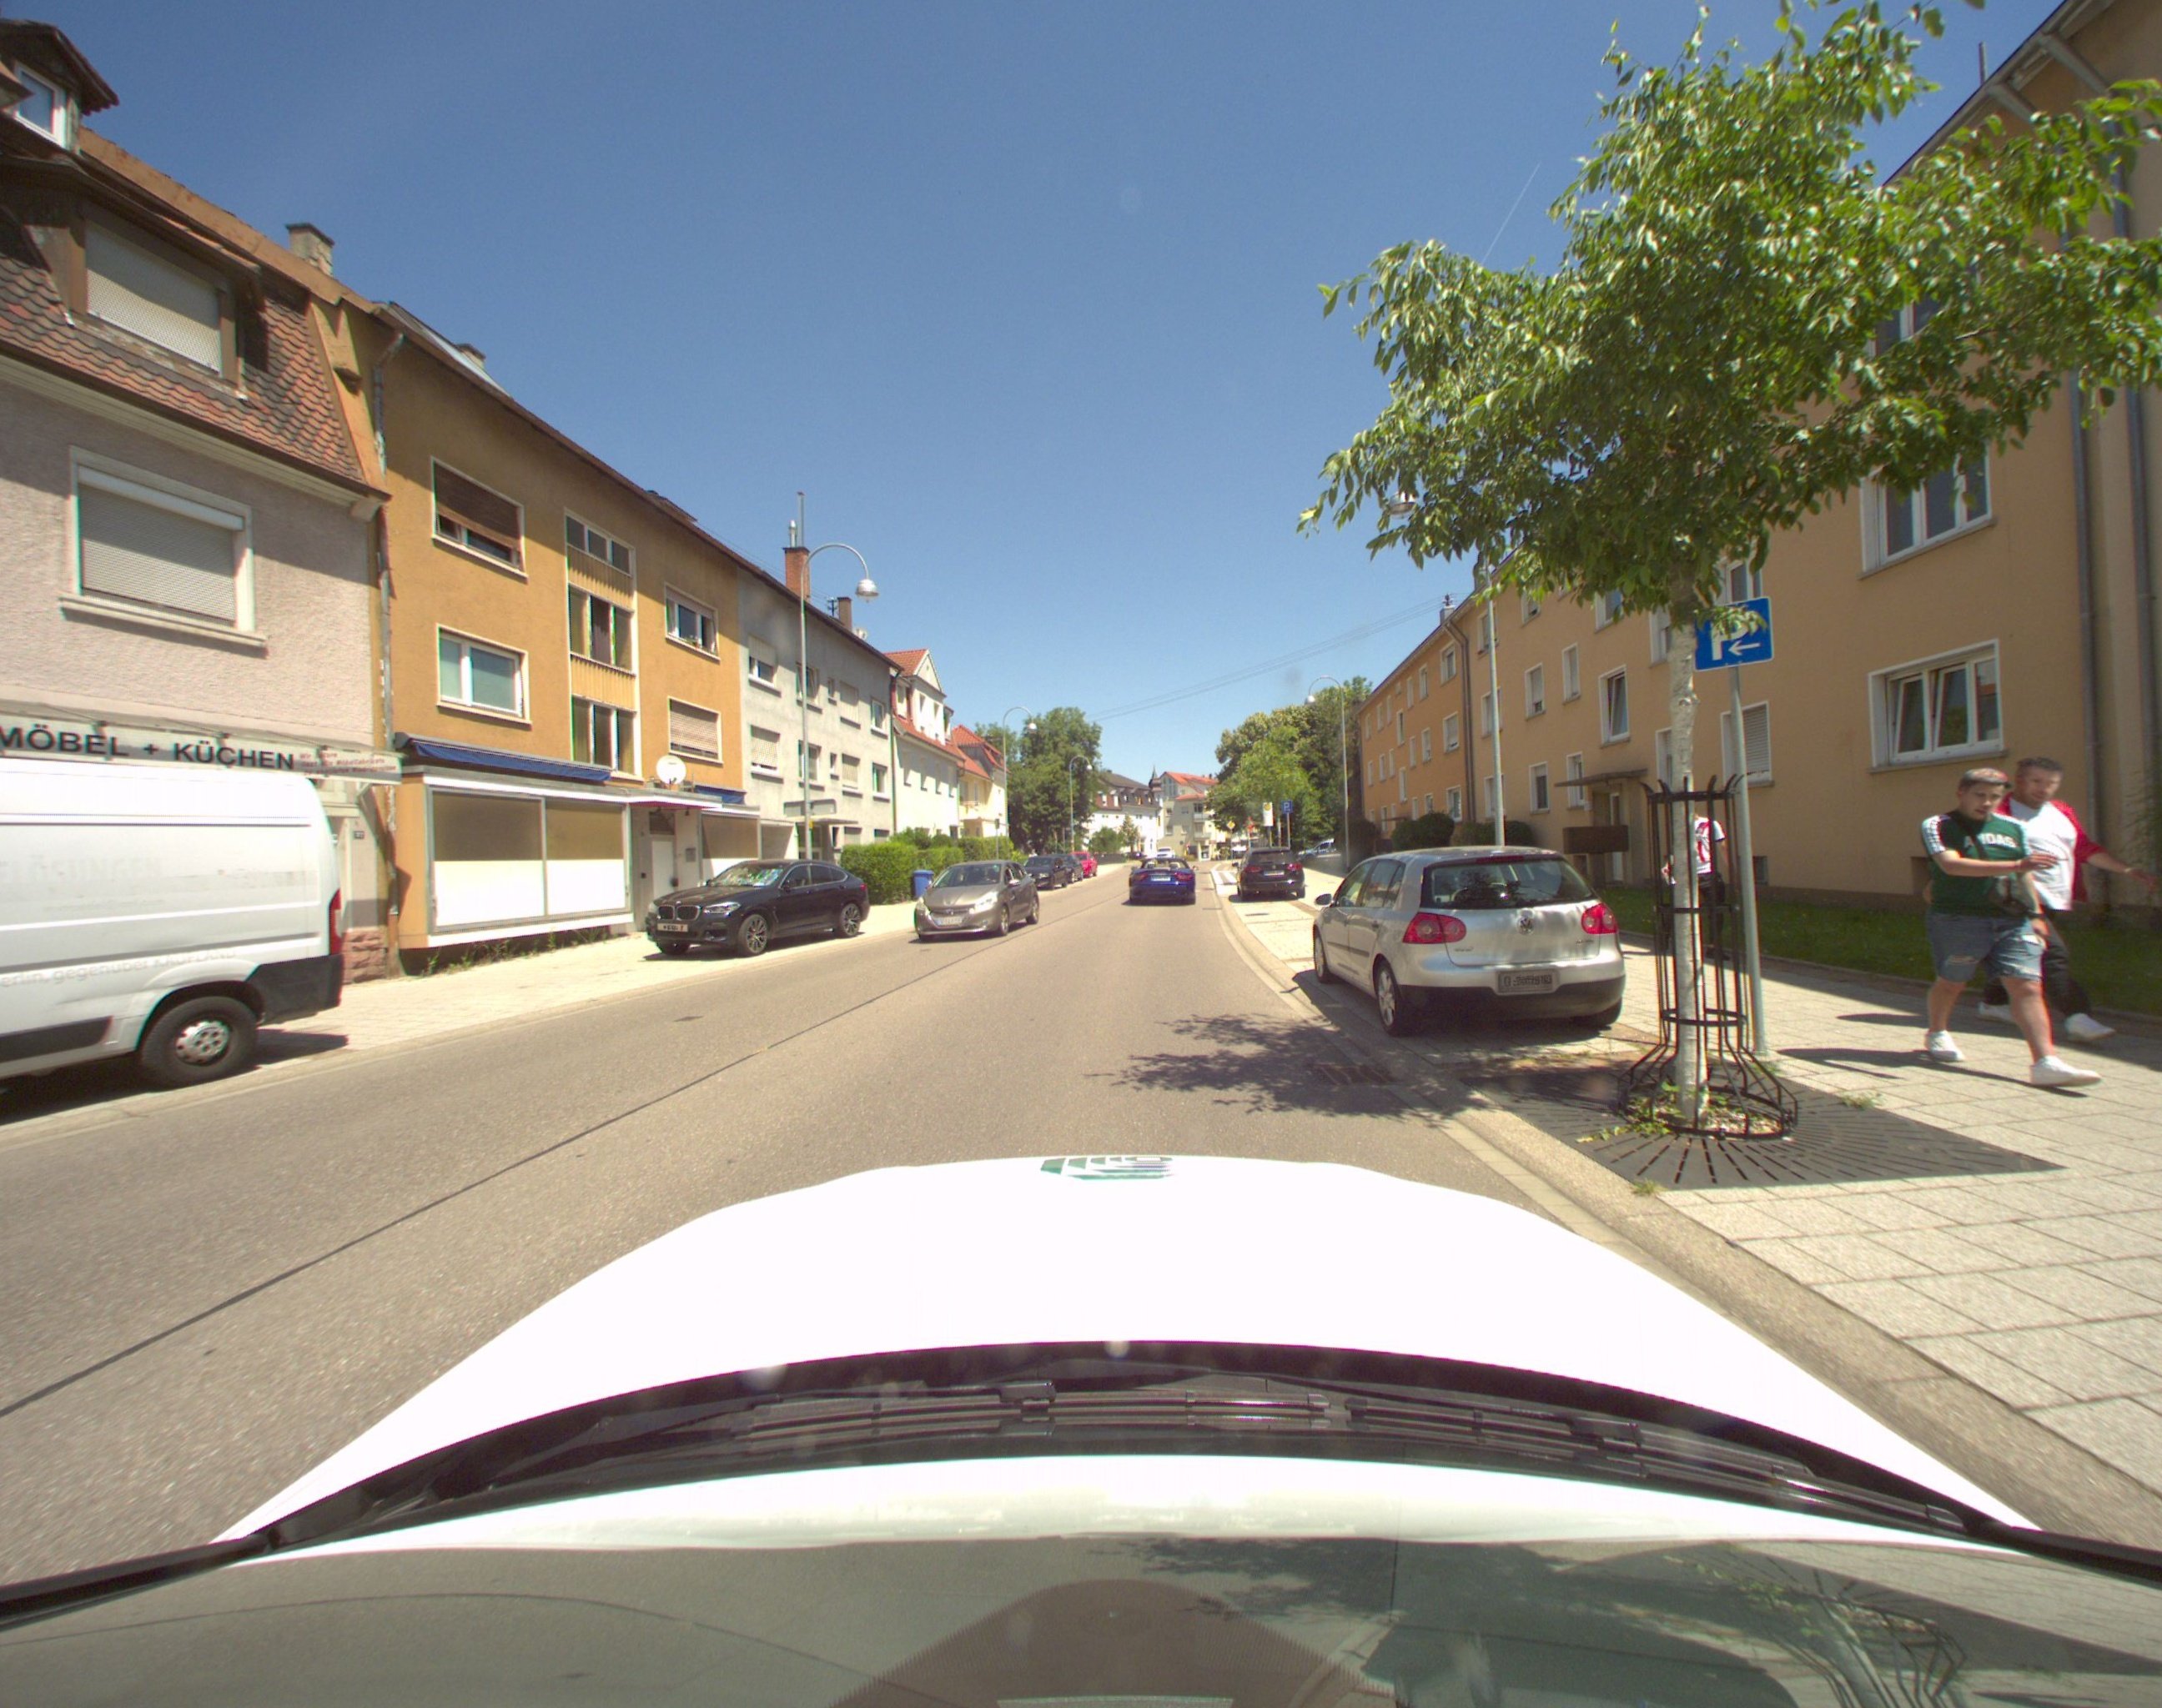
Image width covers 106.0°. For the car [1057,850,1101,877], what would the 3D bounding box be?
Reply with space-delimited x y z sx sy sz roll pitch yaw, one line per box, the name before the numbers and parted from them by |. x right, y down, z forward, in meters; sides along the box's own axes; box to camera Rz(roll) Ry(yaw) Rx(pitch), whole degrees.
car | -0.057 0.522 47.872 1.867 1.479 4.749 0 1 8

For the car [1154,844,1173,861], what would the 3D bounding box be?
car | 8.706 -0.216 85.589 1.867 1.597 4.368 -4 0 7

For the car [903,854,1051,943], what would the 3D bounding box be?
car | -1.966 0.810 16.635 1.720 1.411 4.013 -4 0 11

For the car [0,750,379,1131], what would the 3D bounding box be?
car | -8.137 0.574 4.693 2.105 2.449 6.137 -1 0 12

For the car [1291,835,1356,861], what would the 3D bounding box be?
car | 18.047 -0.443 60.698 4.323 1.839 1.750 -1 -1 0

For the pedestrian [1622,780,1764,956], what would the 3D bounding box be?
pedestrian | 6.899 0.149 9.241 0.816 1.853 0.985 -3 -1 4

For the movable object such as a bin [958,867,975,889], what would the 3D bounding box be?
movable object such as a bin | -4.941 1.022 35.257 0.491 0.911 0.707 -3 0 8

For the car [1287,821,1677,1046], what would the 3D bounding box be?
car | 3.375 0.584 7.974 1.805 1.477 4.512 -4 -1 4

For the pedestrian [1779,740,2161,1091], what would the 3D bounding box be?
pedestrian | 5.278 0.315 4.799 1.166 1.733 1.192 -5 -1 3

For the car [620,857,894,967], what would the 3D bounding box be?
car | -5.864 0.949 15.655 2.069 1.614 5.132 -1 1 17

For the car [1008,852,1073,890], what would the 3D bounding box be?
car | -1.708 0.687 35.559 1.775 1.459 4.212 0 1 12

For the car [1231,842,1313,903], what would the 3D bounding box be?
car | 5.583 0.475 24.354 1.823 1.504 5.075 -5 0 8

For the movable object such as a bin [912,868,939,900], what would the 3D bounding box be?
movable object such as a bin | -5.396 1.038 28.264 0.669 1.047 0.653 -3 0 7

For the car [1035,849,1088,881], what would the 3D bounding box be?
car | -0.909 0.504 41.997 1.853 1.461 5.319 -1 1 8

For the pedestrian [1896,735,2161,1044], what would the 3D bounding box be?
pedestrian | 6.358 0.206 5.398 0.784 1.811 1.007 -5 0 4

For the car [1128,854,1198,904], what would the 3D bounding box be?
car | 2.555 0.684 24.497 1.860 1.342 4.606 -1 0 8

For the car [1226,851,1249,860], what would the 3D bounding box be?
car | 25.180 0.263 130.994 4.153 1.460 1.697 0 0 -44

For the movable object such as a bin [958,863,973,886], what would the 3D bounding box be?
movable object such as a bin | -5.236 0.939 36.884 0.464 0.990 0.615 -3 0 8

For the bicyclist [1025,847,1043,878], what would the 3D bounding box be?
bicyclist | -2.622 0.476 45.667 0.778 1.659 0.837 -3 0 6
